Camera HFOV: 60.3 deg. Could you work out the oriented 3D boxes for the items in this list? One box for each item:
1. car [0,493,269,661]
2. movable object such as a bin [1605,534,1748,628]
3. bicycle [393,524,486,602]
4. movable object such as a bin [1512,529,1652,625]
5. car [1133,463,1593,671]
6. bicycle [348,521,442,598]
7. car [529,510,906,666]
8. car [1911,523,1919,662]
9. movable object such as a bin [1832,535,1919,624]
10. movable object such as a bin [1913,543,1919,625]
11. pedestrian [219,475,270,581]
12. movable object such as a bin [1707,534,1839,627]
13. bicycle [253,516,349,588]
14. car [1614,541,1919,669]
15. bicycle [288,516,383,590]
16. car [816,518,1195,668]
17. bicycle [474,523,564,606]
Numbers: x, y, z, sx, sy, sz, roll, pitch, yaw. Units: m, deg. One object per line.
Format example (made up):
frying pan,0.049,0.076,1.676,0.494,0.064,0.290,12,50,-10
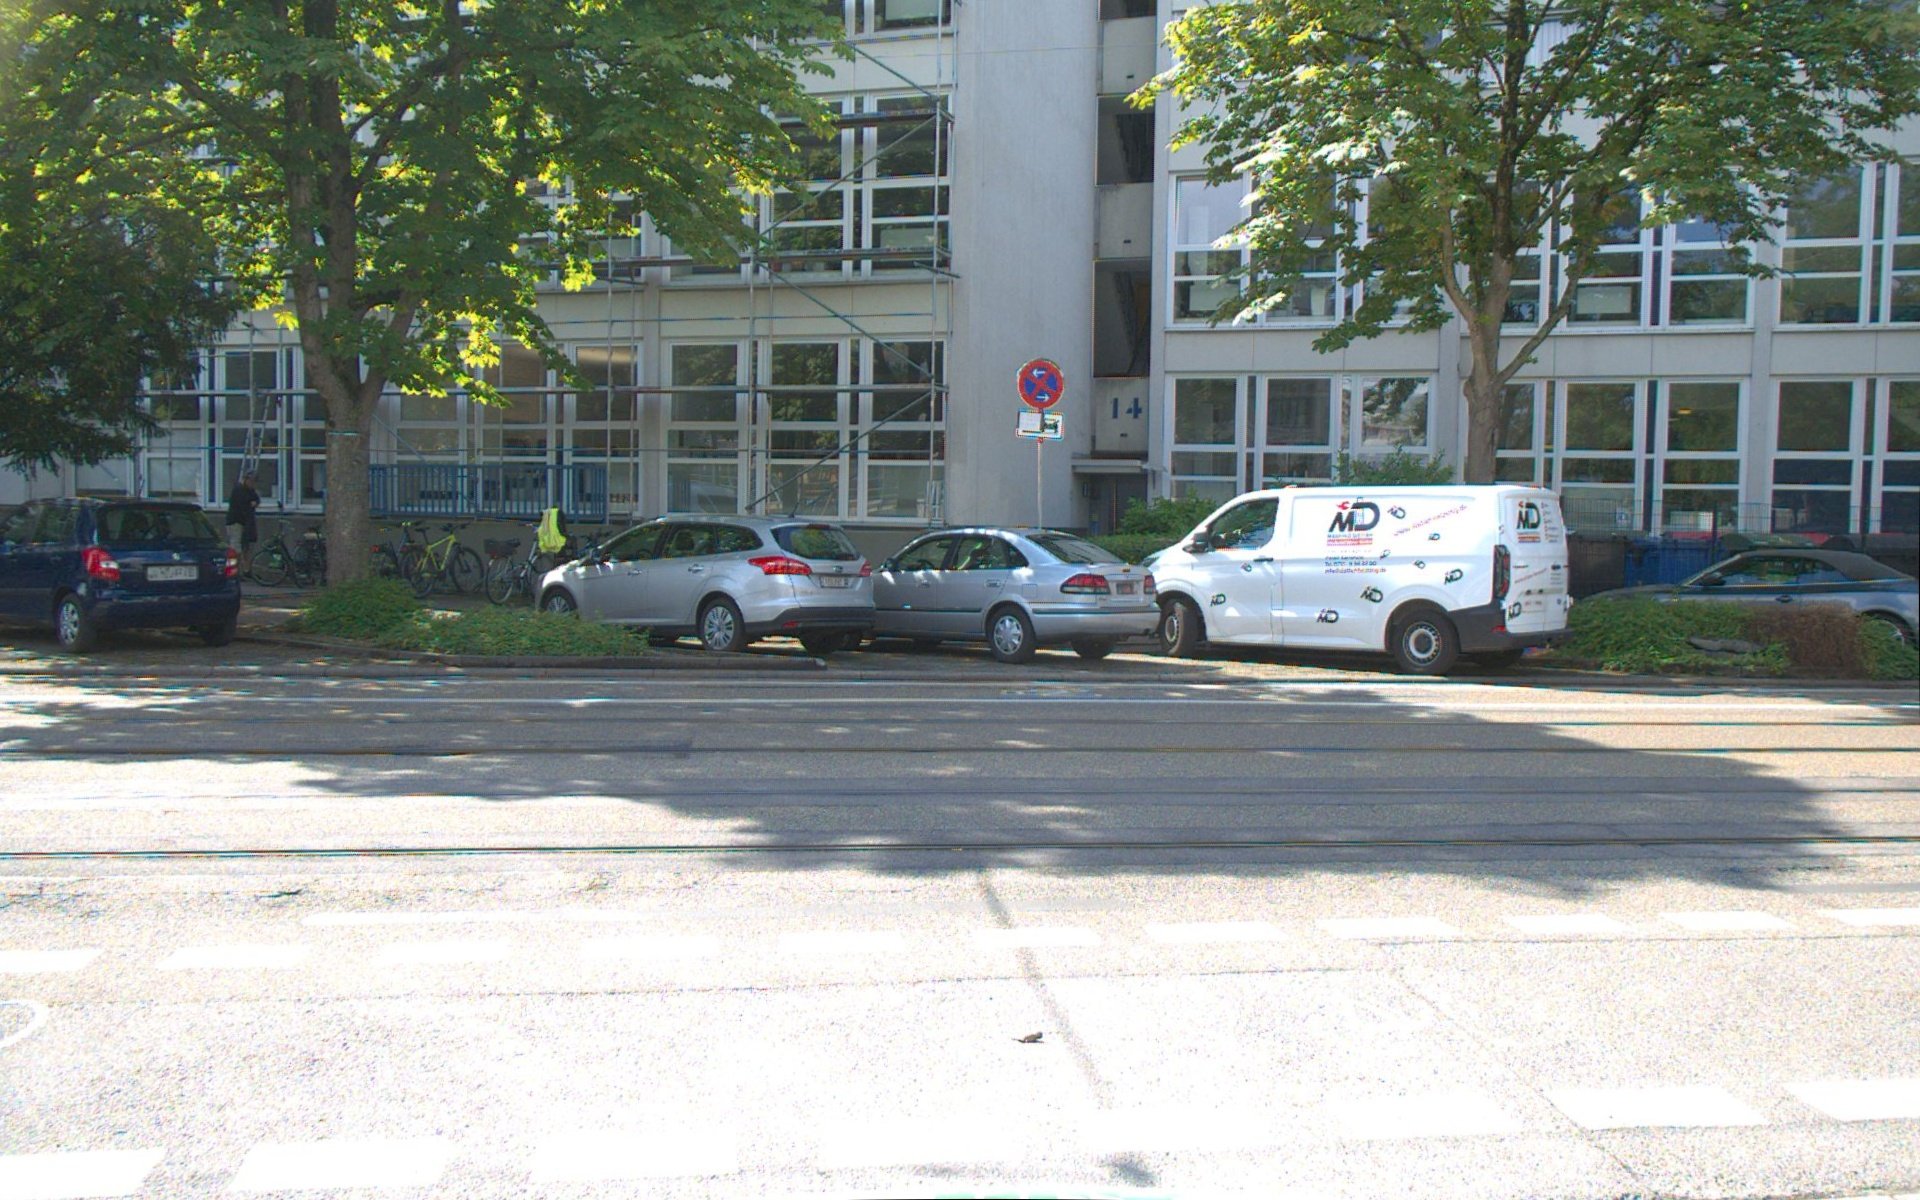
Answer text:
car,-9.066,-0.322,17.269,3.809,1.549,1.736,3,4,36
movable object such as a bin,11.062,-0.287,25.596,1.507,1.388,1.387,1,0,-12
bicycle,-7.877,-0.580,25.086,0.529,1.140,1.582,-1,2,16
movable object such as a bin,9.474,-0.339,25.250,1.507,1.388,1.387,1,0,-12
car,4.385,-0.444,18.473,4.602,2.031,1.958,3,3,41
bicycle,-8.617,-0.636,25.289,0.529,1.133,1.582,-1,2,16
car,-2.767,-0.214,18.447,4.111,1.526,1.815,3,3,37
car,13.762,-0.063,20.057,3.645,1.722,1.752,1,1,39
movable object such as a bin,14.632,-0.303,25.793,1.410,1.350,1.165,1,0,-9
movable object such as a bin,16.053,-0.249,26.020,1.410,1.306,1.169,1,0,-9
pedestrian,-11.369,-1.151,26.286,0.649,1.652,0.640,1,3,-16
movable object such as a bin,12.674,-0.293,25.813,1.411,1.404,1.193,1,0,-11
bicycle,-10.499,-0.776,26.406,0.529,1.099,1.582,-1,2,16
car,10.148,0.032,20.033,3.914,1.442,1.718,1,1,31
bicycle,-9.750,-0.747,25.876,0.529,1.111,1.582,-1,2,16
car,0.437,-0.158,18.809,4.095,1.474,1.813,3,3,40
bicycle,-6.517,-0.543,24.507,0.529,1.182,1.582,-1,2,16
